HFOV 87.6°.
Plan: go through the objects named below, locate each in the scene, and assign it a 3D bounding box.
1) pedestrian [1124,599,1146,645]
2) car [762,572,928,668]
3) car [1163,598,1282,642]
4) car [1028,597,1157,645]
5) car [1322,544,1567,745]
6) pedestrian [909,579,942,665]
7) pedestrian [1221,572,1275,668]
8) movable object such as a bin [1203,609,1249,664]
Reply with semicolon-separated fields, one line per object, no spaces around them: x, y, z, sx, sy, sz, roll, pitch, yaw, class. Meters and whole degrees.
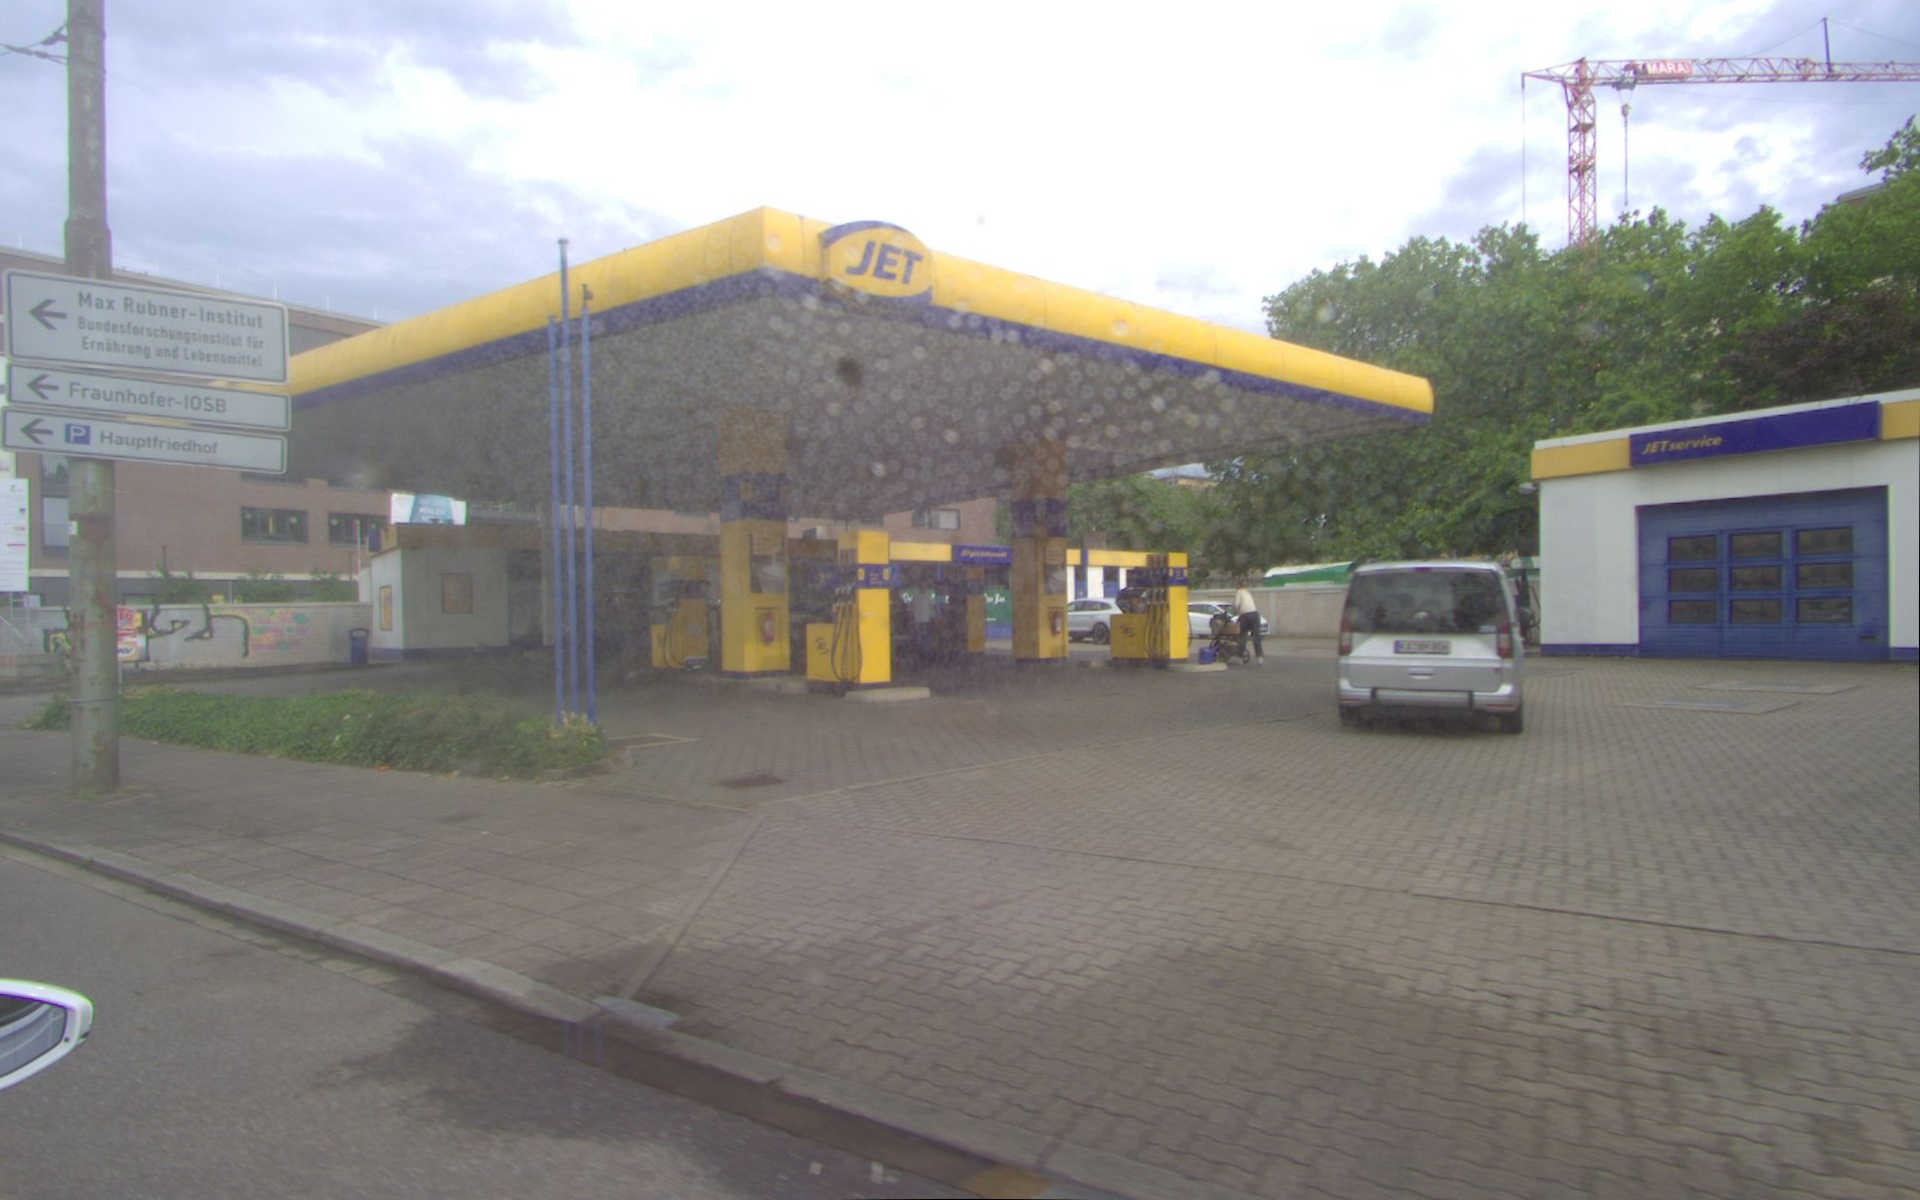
6.096;0.754;34.855;0.492;1.564;0.547;-1;2;-34;pedestrian
-2.769;0.473;23.416;1.804;2.014;4.219;-2;0;-40;car
10.505;0.762;40.311;1.936;1.607;4.390;1;0;-37;car
4.770;0.708;36.700;1.919;1.617;4.722;0;1;-38;car
5.822;0.355;11.701;1.960;1.868;4.499;0;2;34;car
-0.728;0.483;21.517;0.615;1.810;0.708;-1;-1;4;pedestrian
5.710;0.371;19.869;0.592;1.844;0.968;0;3;-14;pedestrian
5.486;0.737;20.694;0.592;1.080;0.794;0;2;-14;movable object such as a bin
